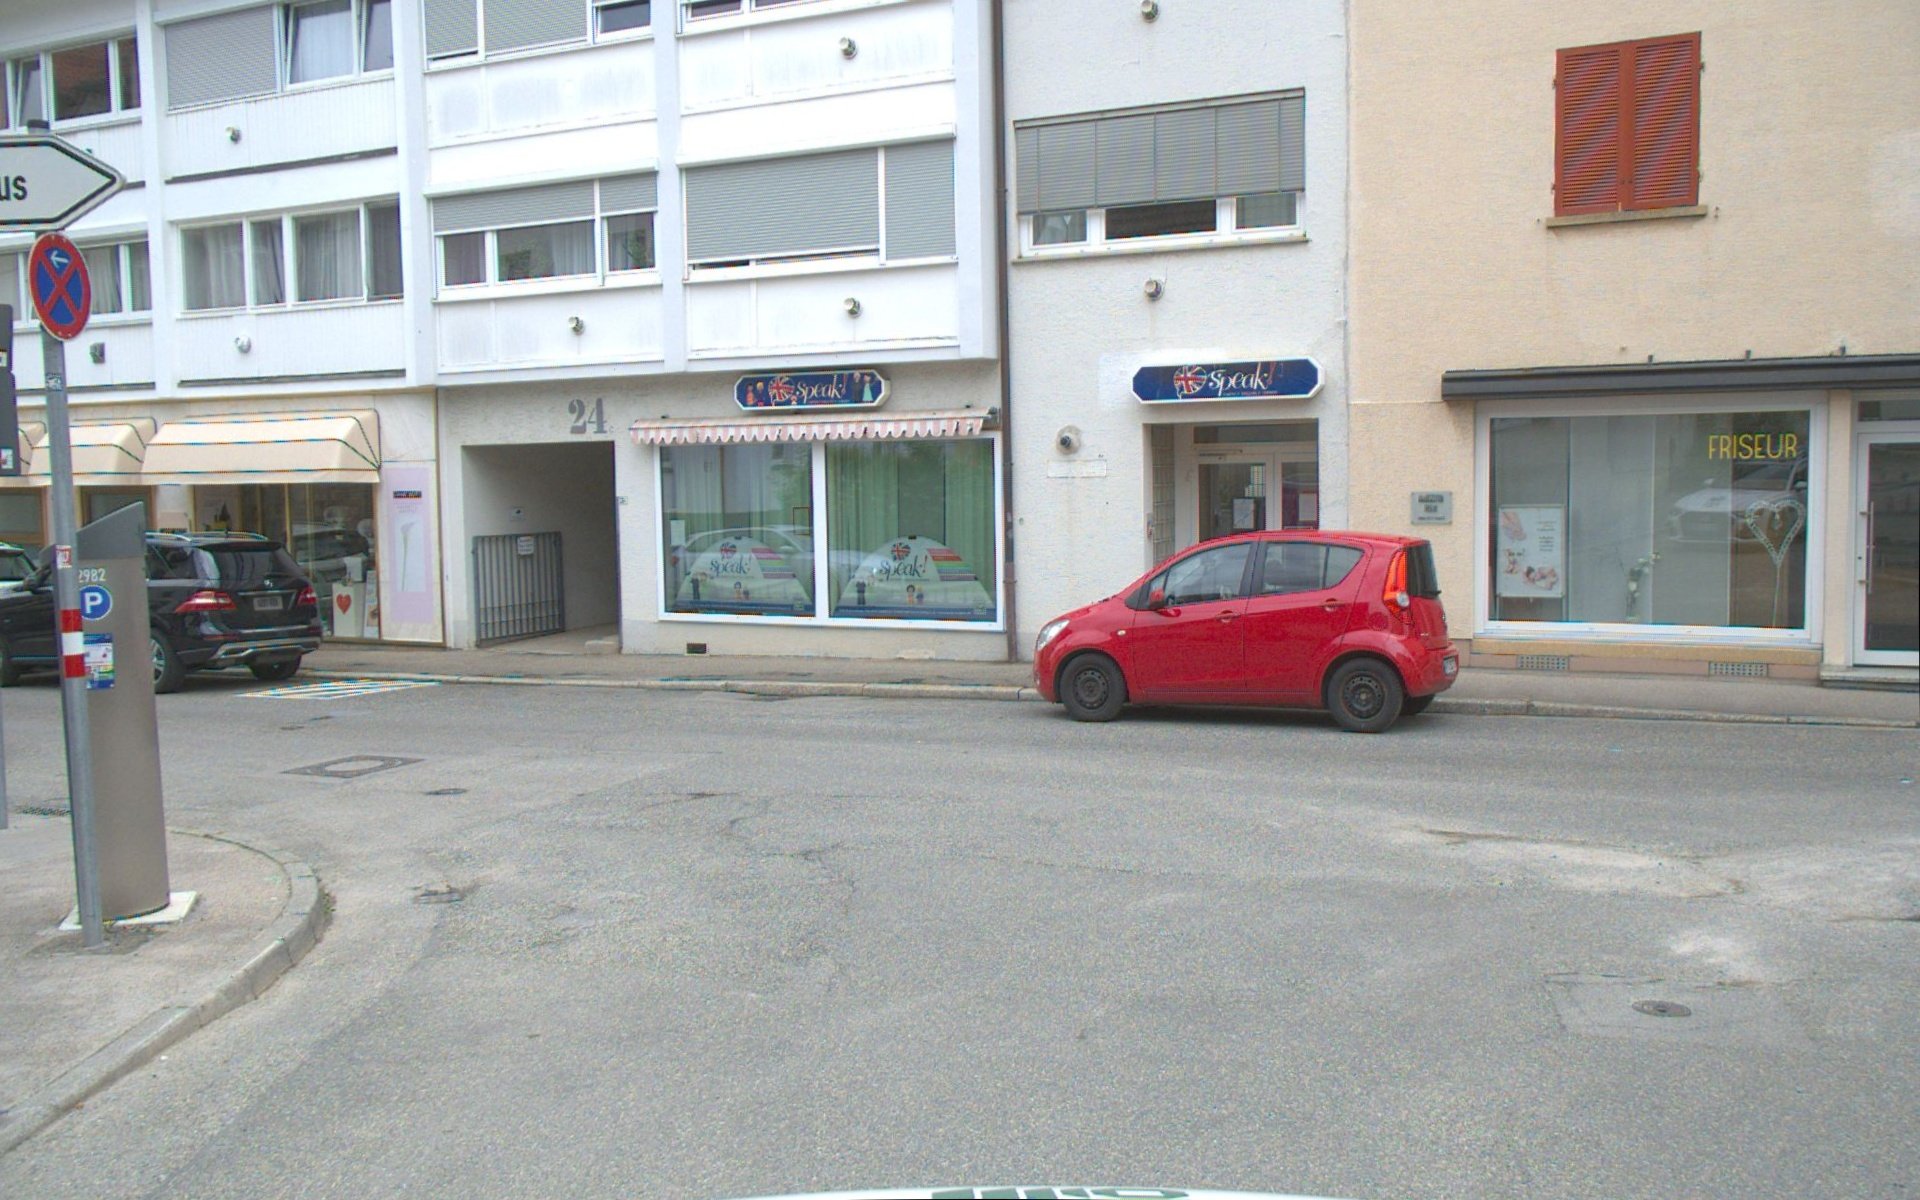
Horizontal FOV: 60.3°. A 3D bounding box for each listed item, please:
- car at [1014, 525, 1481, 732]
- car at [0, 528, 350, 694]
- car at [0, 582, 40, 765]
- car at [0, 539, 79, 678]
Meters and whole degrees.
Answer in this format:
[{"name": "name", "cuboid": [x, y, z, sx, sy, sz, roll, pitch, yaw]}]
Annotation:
[{"name": "car", "cuboid": [2.459, 0.192, 14.197, 3.612, 1.583, 1.695, 0, 1, 27]}, {"name": "car", "cuboid": [-9.673, 0.102, 19.874, 4.269, 1.810, 1.946, -1, 2, 26]}, {"name": "car", "cuboid": [-10.111, 0.687, 14.017, 4.196, 1.485, 1.799, 0, 5, 24]}, {"name": "car", "cuboid": [-14.155, 0.094, 22.146, 4.276, 1.741, 1.939, 1, 3, 25]}]
